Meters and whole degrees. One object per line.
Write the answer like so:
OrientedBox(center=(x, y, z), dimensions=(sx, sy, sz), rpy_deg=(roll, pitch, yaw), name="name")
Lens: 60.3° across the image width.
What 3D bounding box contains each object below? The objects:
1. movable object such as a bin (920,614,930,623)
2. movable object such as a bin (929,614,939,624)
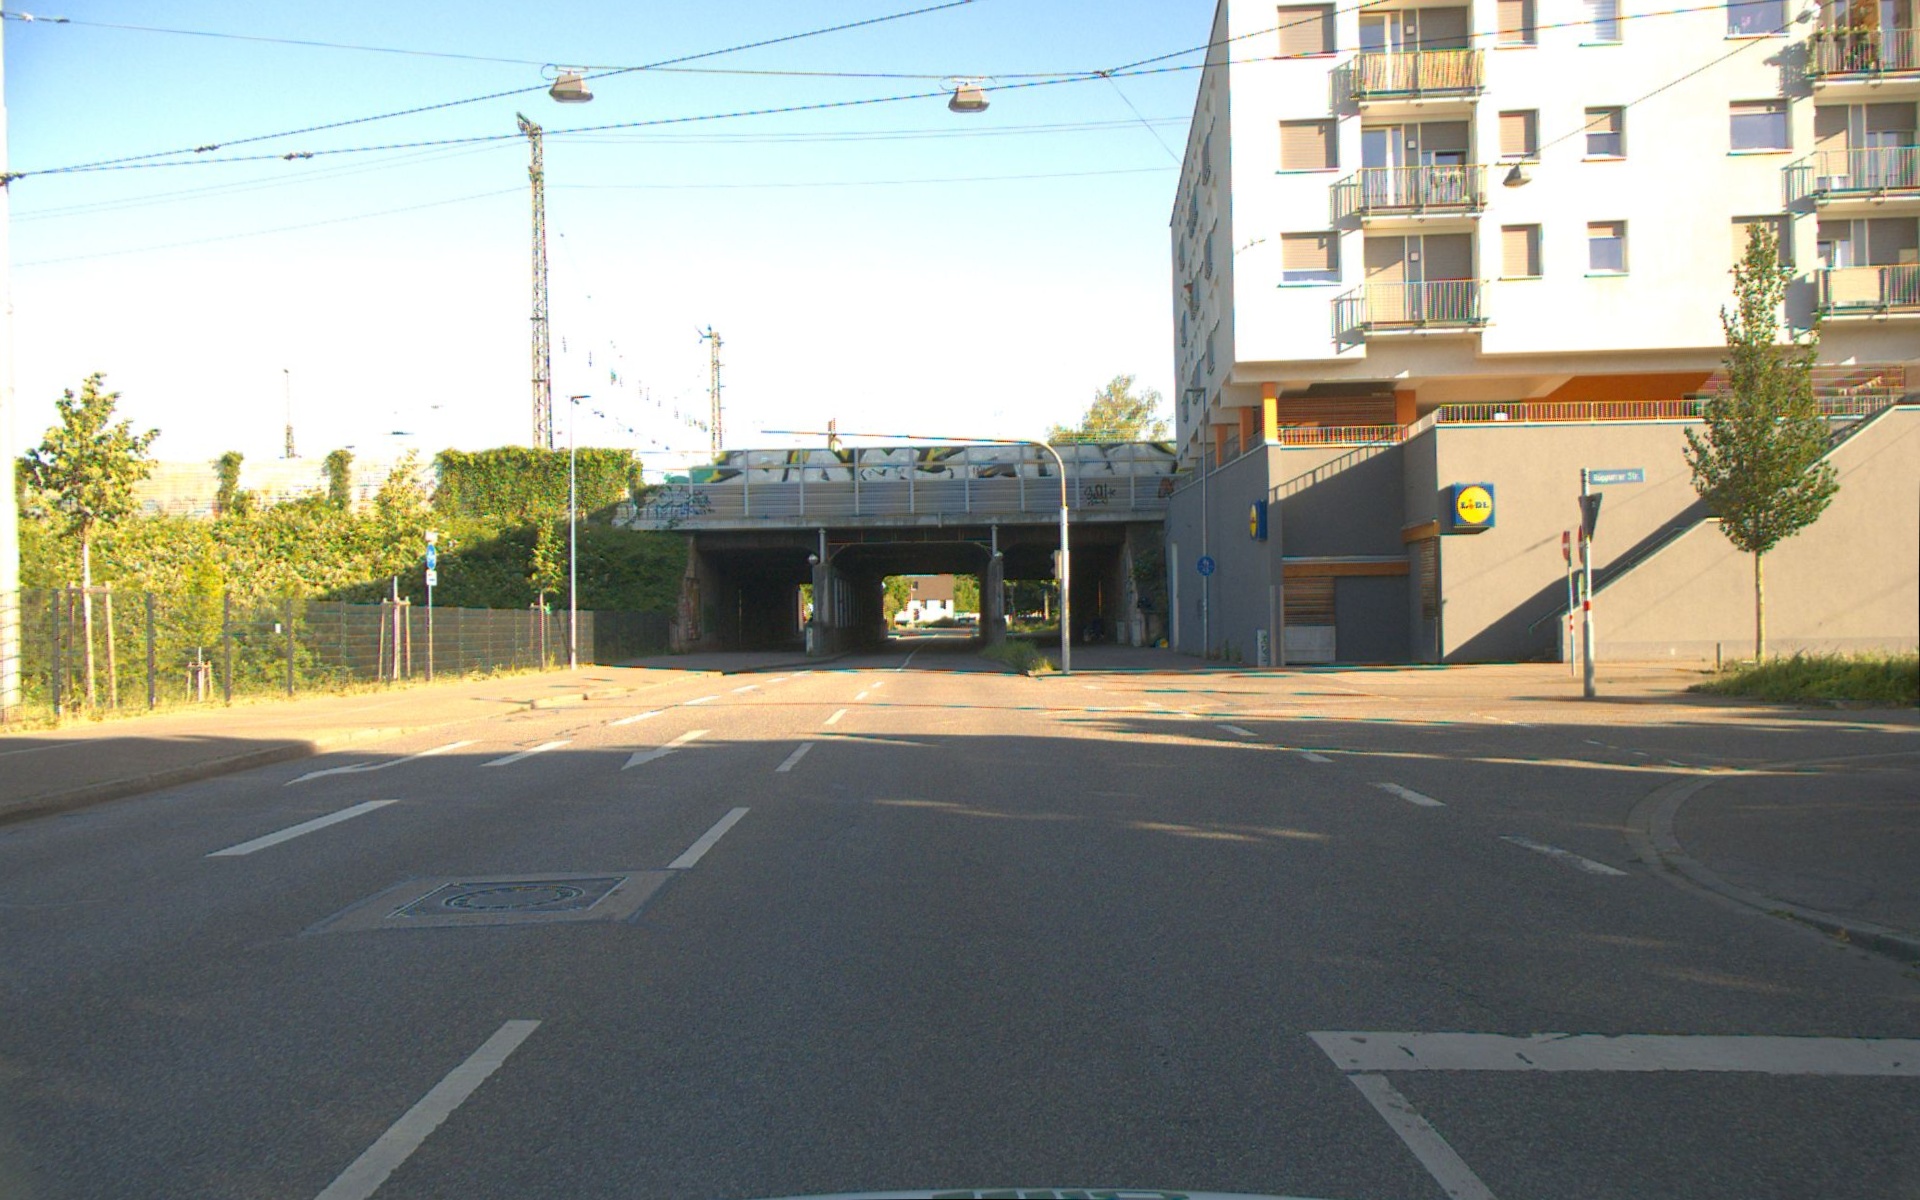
OrientedBox(center=(-5.197, 2.747, 245.297), dimensions=(1.339, 1.443, 1.064), rpy_deg=(1, -1, -7), name="movable object such as a bin")
OrientedBox(center=(-3.834, 2.768, 245.484), dimensions=(1.339, 1.443, 1.064), rpy_deg=(1, -1, -7), name="movable object such as a bin")
